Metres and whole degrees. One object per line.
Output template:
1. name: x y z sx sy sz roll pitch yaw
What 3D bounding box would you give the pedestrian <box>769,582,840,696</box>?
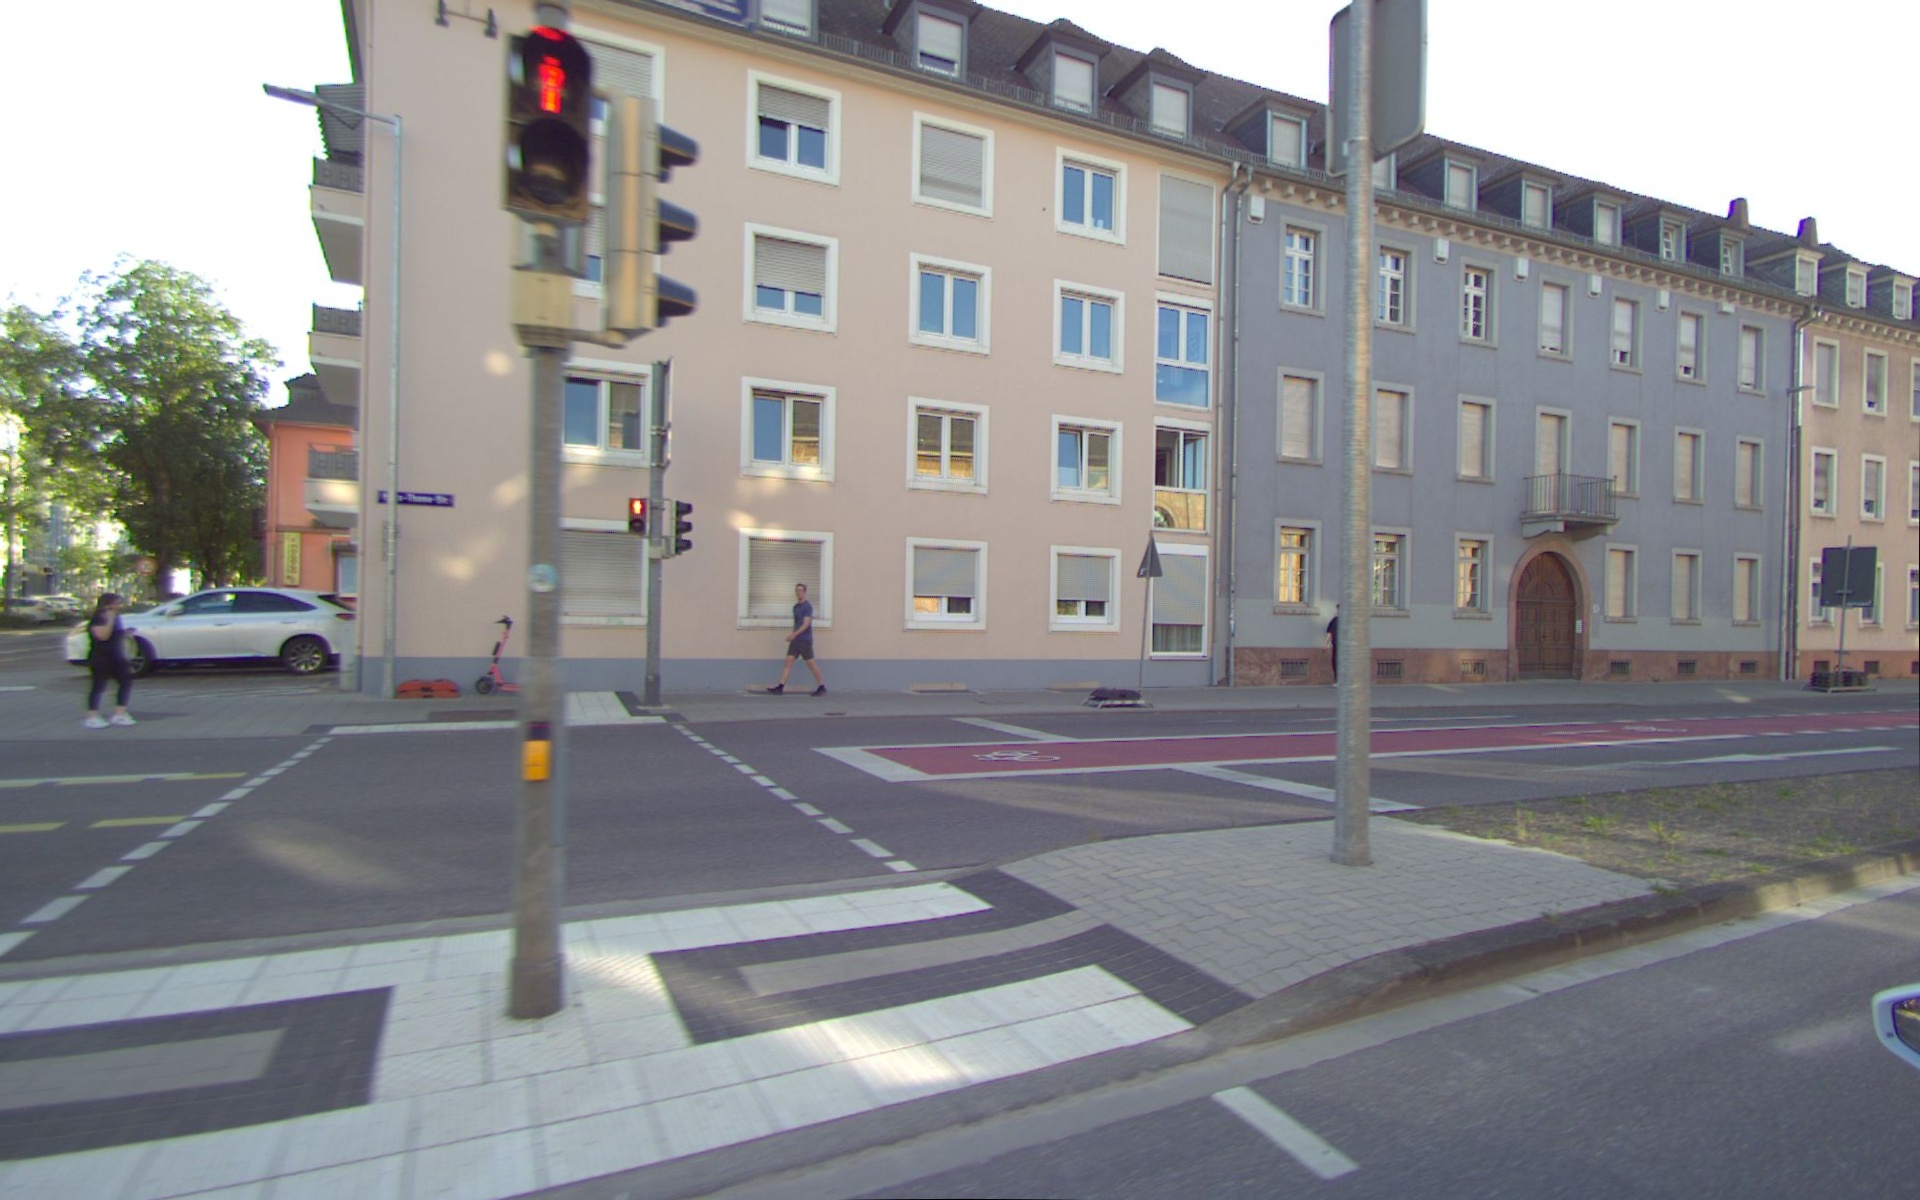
1. pedestrian: -2.712 0.660 17.476 1.000 1.888 0.865 1 2 -24

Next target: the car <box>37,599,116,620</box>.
1. car: -59.835 0.686 68.101 3.700 1.284 1.566 2 -4 -30

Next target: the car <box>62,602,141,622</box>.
1. car: -60.209 0.846 70.514 3.952 1.327 1.598 1 -1 -30

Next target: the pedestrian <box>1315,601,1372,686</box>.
1. pedestrian: 8.790 0.986 23.013 0.999 1.871 0.629 1 2 -25

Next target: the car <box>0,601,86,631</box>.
1. car: -54.678 0.965 59.368 4.145 1.580 1.985 2 -4 -30

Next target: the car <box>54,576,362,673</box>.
1. car: -14.364 0.479 19.613 4.560 1.709 1.984 1 -1 -30

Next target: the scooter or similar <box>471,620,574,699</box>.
1. scooter or similar: -6.908 0.929 15.891 1.453 1.201 0.532 1 1 -24

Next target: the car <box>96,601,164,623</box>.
1. car: -66.747 0.971 80.840 3.956 1.635 1.722 2 -4 -32

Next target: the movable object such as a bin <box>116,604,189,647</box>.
1. movable object such as a bin: -28.766 0.916 35.820 1.869 1.474 1.103 2 -1 -31

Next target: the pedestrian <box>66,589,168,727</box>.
1. pedestrian: -10.264 0.692 12.254 0.807 1.605 0.629 1 2 -25

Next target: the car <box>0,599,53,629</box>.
1. car: -53.723 0.792 56.087 4.208 1.558 1.816 2 -4 -30

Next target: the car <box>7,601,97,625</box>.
1. car: -56.773 0.832 62.897 3.860 1.301 1.637 2 -4 -30
